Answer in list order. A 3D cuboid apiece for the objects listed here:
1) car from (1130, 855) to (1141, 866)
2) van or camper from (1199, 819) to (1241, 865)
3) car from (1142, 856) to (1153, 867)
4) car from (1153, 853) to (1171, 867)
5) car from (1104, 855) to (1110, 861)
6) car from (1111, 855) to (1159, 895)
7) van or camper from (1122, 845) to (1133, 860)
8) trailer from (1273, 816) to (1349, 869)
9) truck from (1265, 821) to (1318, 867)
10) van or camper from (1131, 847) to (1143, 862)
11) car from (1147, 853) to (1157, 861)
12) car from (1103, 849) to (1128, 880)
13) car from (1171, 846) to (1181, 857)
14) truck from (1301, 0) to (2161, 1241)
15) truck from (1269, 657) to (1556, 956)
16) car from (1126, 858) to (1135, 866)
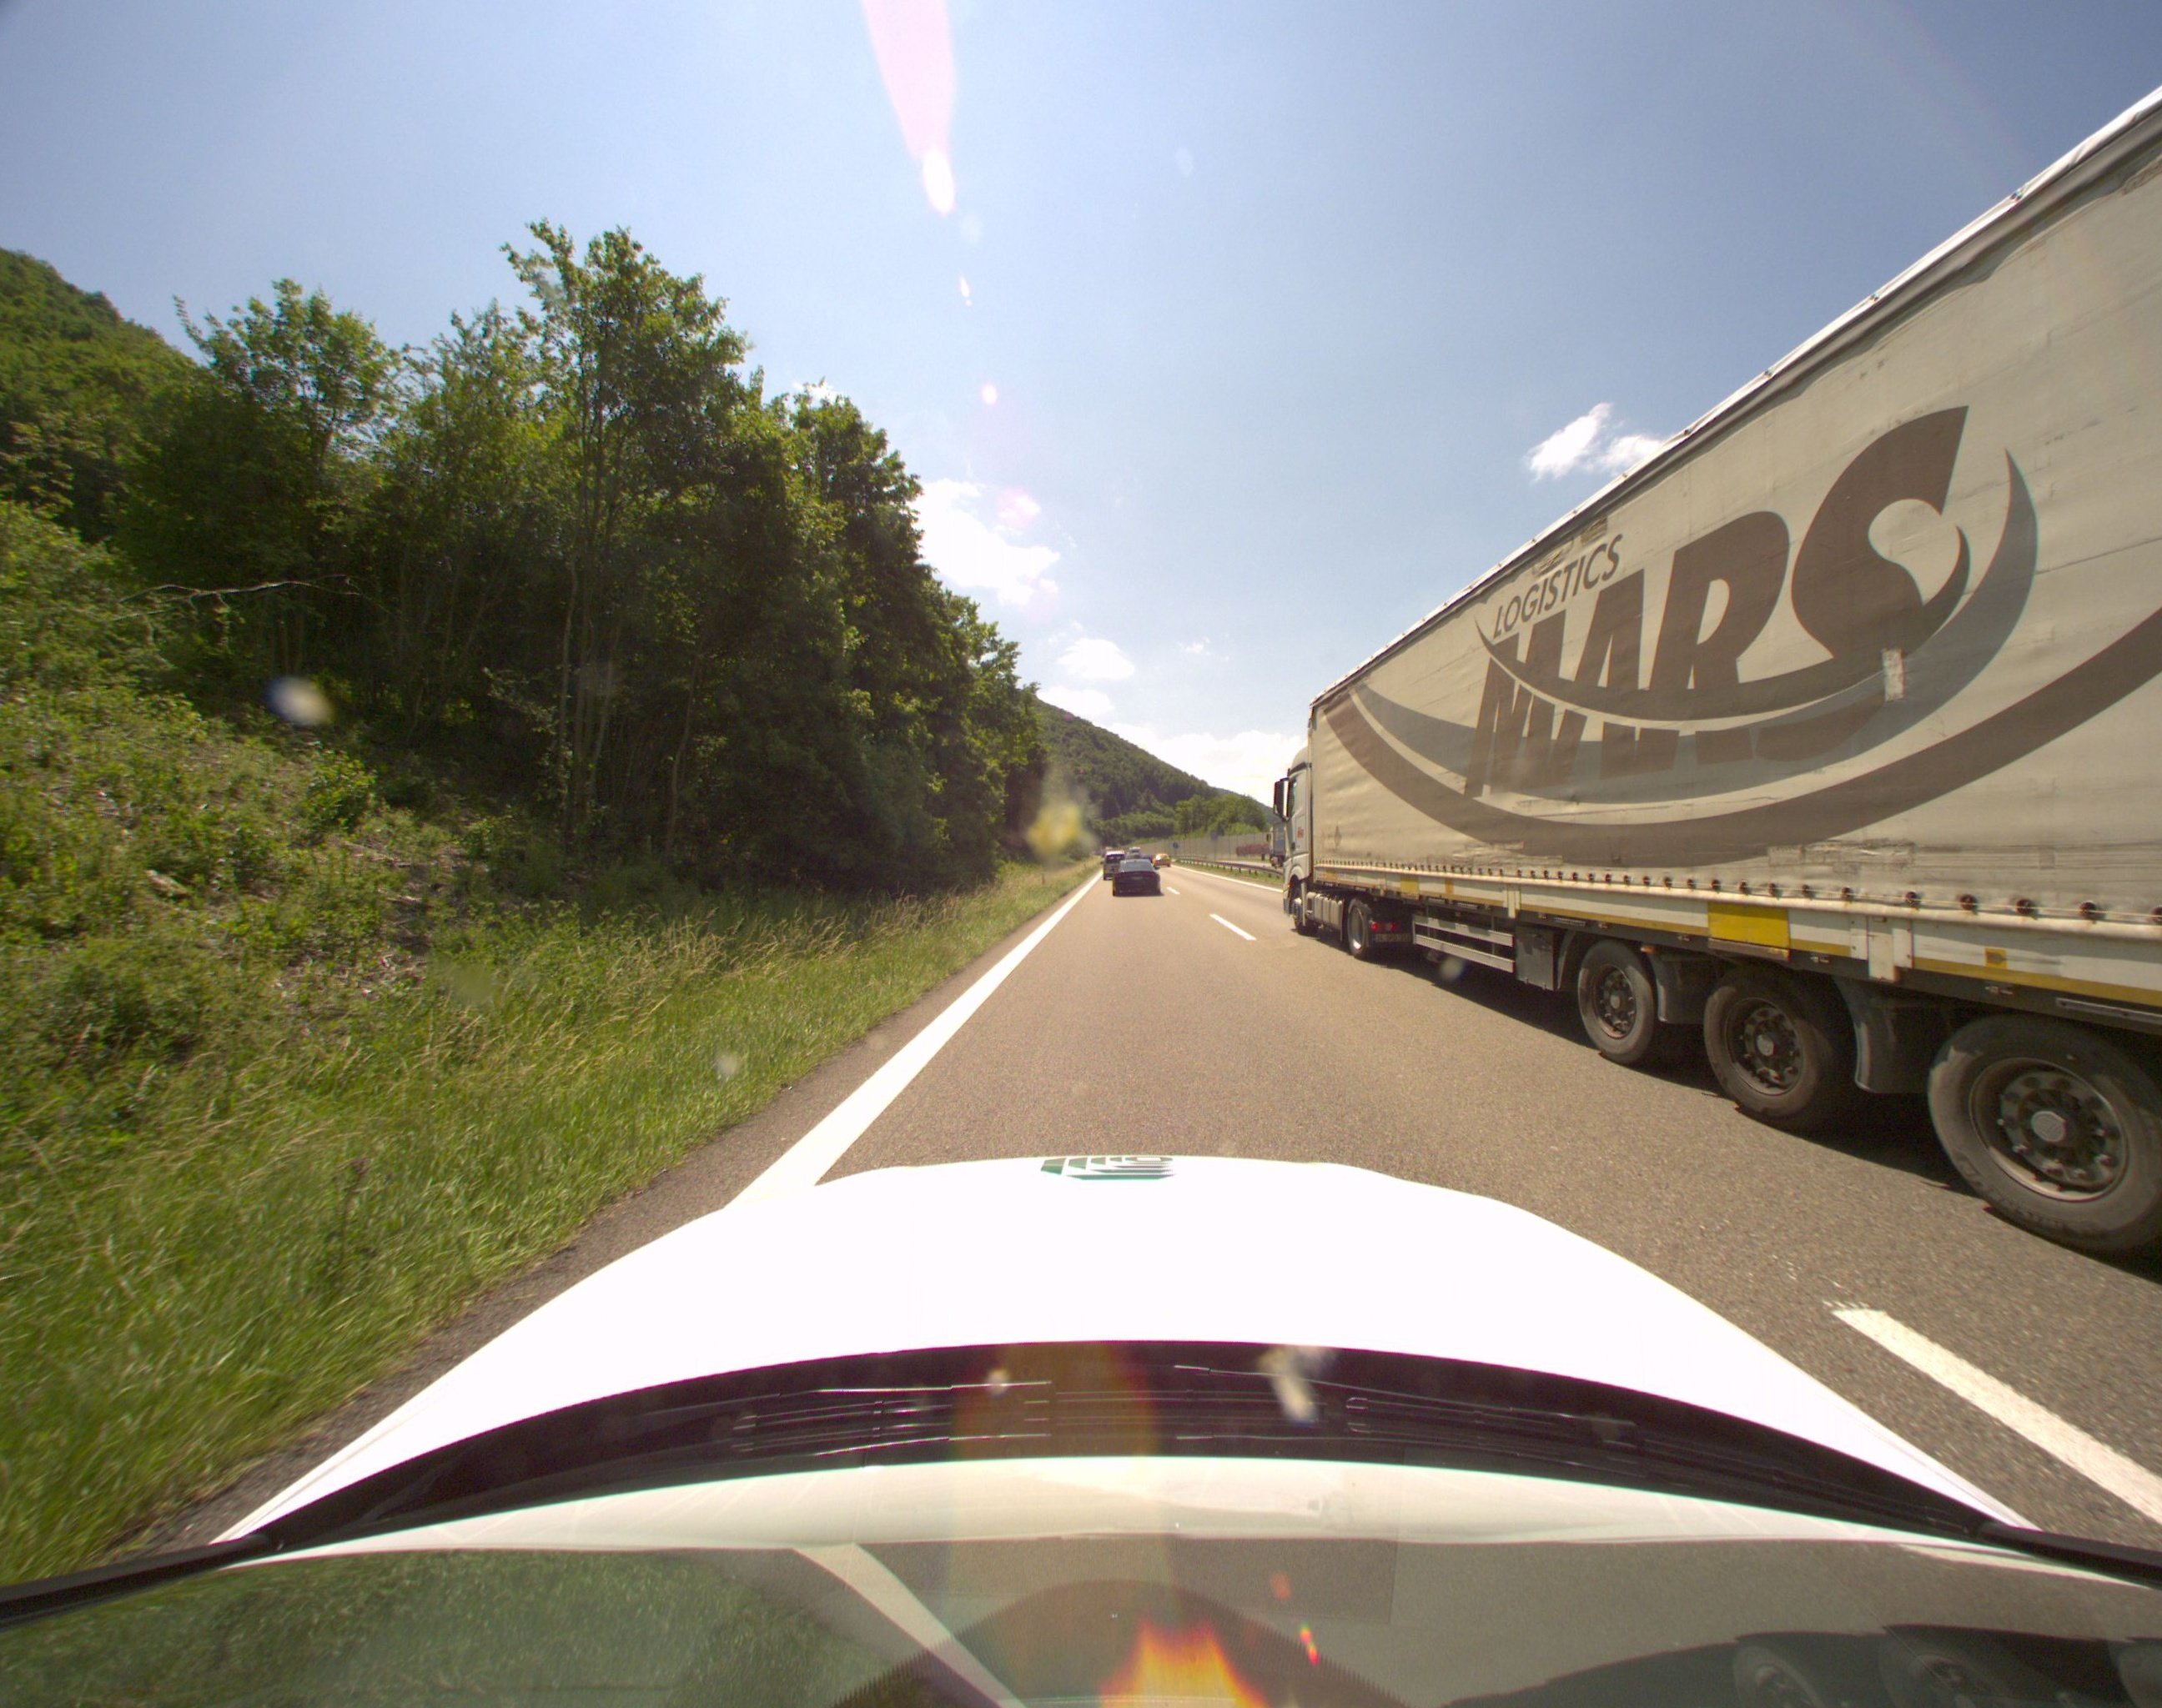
[{"bbox_3d":[10.701,1.247,159.074,2.078,2.014,4.002,1,-1,2],"label":"car"},{"bbox_3d":[12.361,-1.012,72.799,2.785,3.842,6.167,1,-1,1],"label":"van or camper"},{"bbox_3d":[9.808,1.127,120.258,1.524,1.525,3.599,1,-1,3],"label":"car"},{"bbox_3d":[9.049,0.641,91.430,1.871,1.499,4.003,-1,0,3],"label":"car"},{"bbox_3d":[6.839,0.991,212.844,1.483,1.496,3.592,1,-1,3],"label":"car"},{"bbox_3d":[2.120,0.801,32.566,1.804,1.514,3.517,0,0,3],"label":"car"},{"bbox_3d":[12.515,-0.479,219.319,2.785,3.907,6.167,1,-1,1],"label":"van or camper"},{"bbox_3d":[18.277,-0.825,65.681,3.398,3.900,11.157,0,0,2],"label":"trailer"},{"bbox_3d":[18.525,-0.840,71.961,3.398,3.900,5.390,0,0,2],"label":"truck"},{"bbox_3d":[11.826,0.159,173.626,2.419,3.155,5.206,1,-1,3],"label":"van or camper"},{"bbox_3d":[16.561,0.676,190.692,1.986,2.014,4.001,-1,0,1],"label":"car"},{"bbox_3d":[2.305,0.693,54.602,1.515,1.968,3.516,2,-1,2],"label":"car"},{"bbox_3d":[17.740,-0.439,152.157,1.570,2.013,3.430,-1,0,3],"label":"car"},{"bbox_3d":[4.942,-0.727,7.087,2.716,4.068,13.745,0,-1,2],"label":"truck"},{"bbox_3d":[5.158,-0.611,13.950,2.709,4.068,5.756,0,-1,1],"label":"truck"},{"bbox_3d":[8.856,1.421,144.681,1.524,1.525,3.599,1,-1,3],"label":"car"}]
